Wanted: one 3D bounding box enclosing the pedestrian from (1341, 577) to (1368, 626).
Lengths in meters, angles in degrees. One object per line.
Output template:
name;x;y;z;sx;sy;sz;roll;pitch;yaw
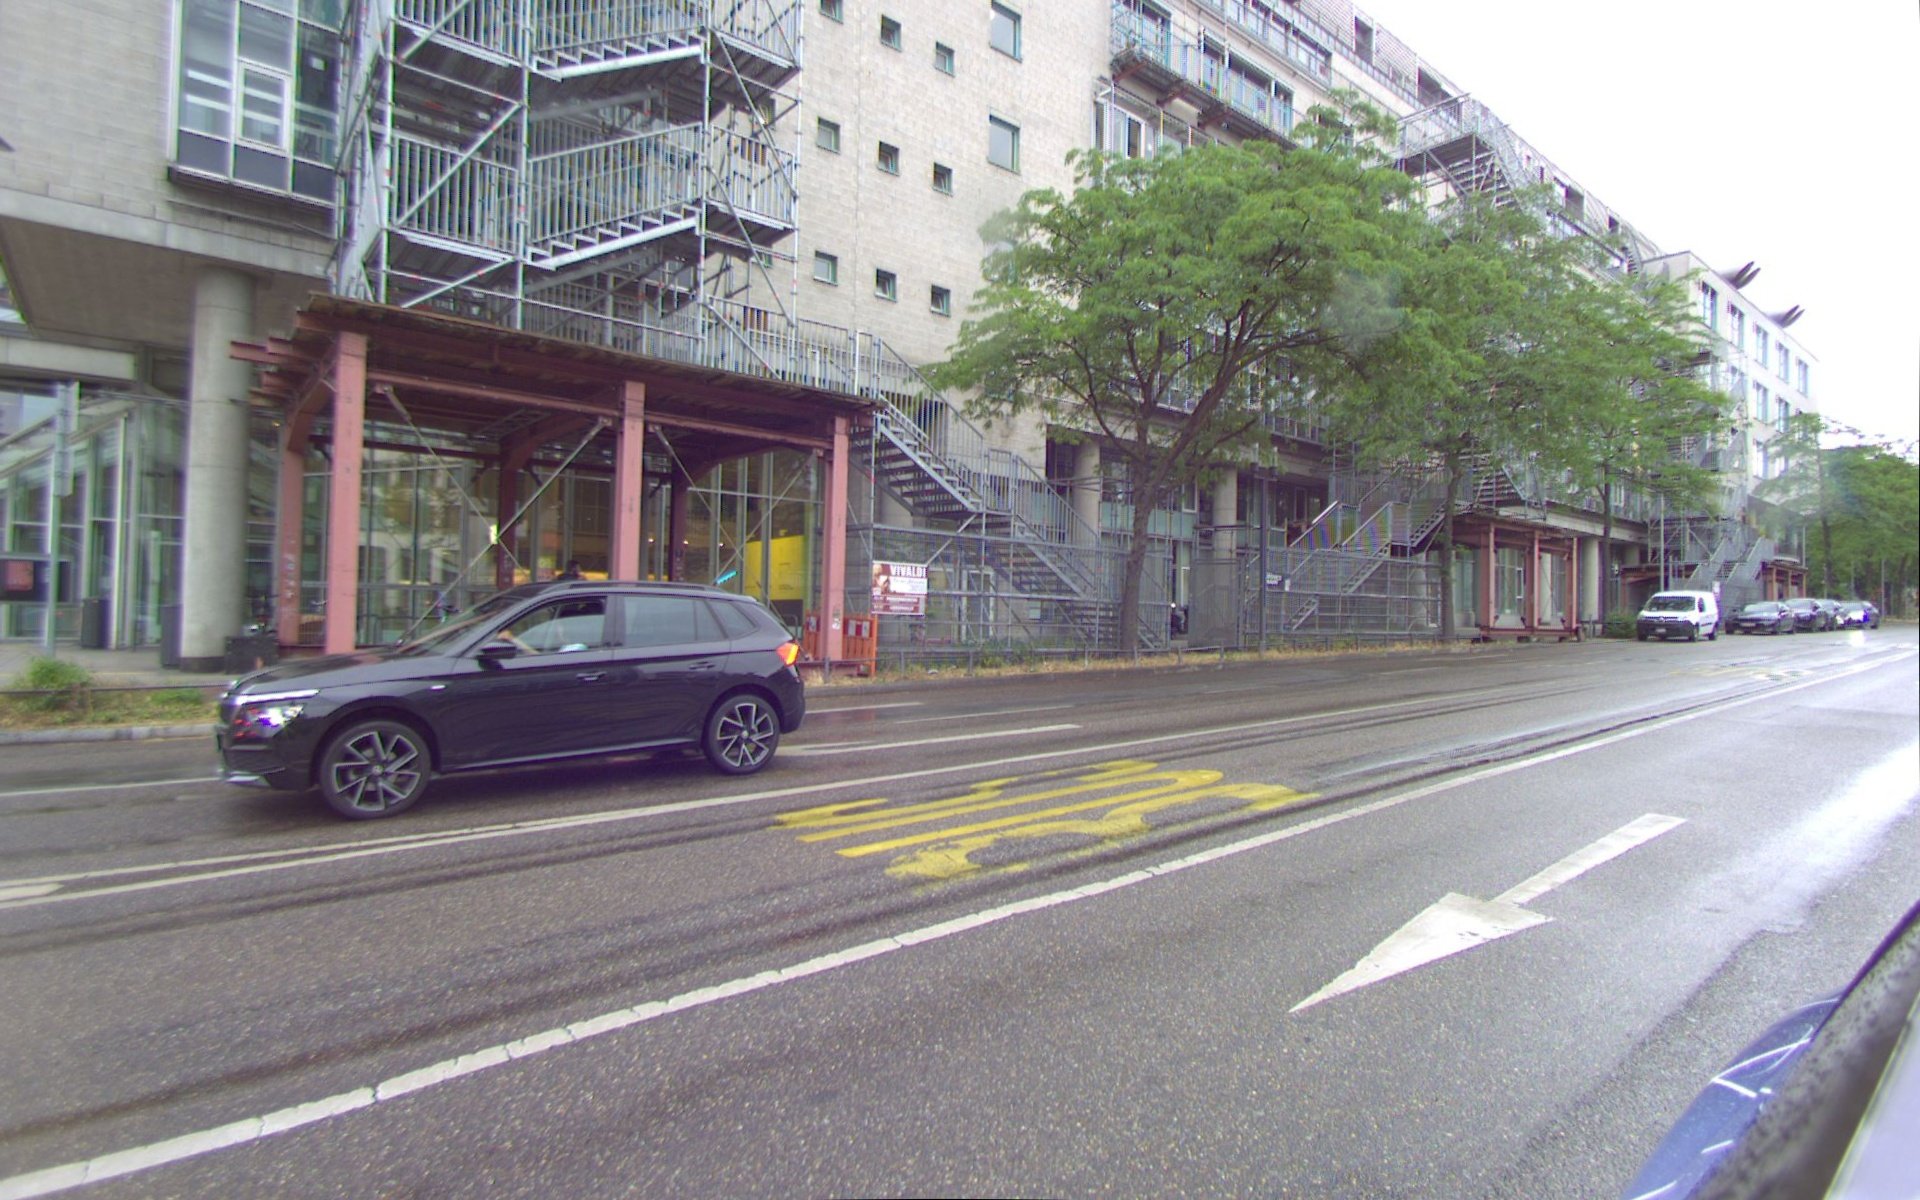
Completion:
pedestrian;14.212;0.053;36.467;0.641;1.764;0.678;0;0;-38

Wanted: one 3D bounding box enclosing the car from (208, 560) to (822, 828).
car;-3.290;0.539;7.882;4.071;1.559;1.782;0;0;-39

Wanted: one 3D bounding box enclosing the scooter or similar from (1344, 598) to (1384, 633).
scooter or similar;13.807;0.519;34.557;1.520;1.176;0.632;0;0;-41

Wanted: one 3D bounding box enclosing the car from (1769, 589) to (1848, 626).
car;40.363;0.358;48.122;4.774;1.667;1.998;0;0;-39

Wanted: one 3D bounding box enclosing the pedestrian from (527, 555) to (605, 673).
pedestrian;-6.511;0.214;16.743;1.037;1.875;0.681;0;0;-40

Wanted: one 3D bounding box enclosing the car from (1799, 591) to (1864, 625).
car;44.392;0.383;51.534;4.512;1.621;1.865;0;0;-41

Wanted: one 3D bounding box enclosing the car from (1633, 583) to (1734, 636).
car;26.226;0.315;36.629;4.447;1.772;1.997;0;0;-41

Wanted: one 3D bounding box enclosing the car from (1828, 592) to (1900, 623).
car;49.114;0.400;54.962;5.191;1.621;1.999;0;0;-38

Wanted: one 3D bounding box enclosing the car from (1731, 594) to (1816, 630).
car;35.259;0.504;43.817;4.831;1.455;1.873;0;0;-39
